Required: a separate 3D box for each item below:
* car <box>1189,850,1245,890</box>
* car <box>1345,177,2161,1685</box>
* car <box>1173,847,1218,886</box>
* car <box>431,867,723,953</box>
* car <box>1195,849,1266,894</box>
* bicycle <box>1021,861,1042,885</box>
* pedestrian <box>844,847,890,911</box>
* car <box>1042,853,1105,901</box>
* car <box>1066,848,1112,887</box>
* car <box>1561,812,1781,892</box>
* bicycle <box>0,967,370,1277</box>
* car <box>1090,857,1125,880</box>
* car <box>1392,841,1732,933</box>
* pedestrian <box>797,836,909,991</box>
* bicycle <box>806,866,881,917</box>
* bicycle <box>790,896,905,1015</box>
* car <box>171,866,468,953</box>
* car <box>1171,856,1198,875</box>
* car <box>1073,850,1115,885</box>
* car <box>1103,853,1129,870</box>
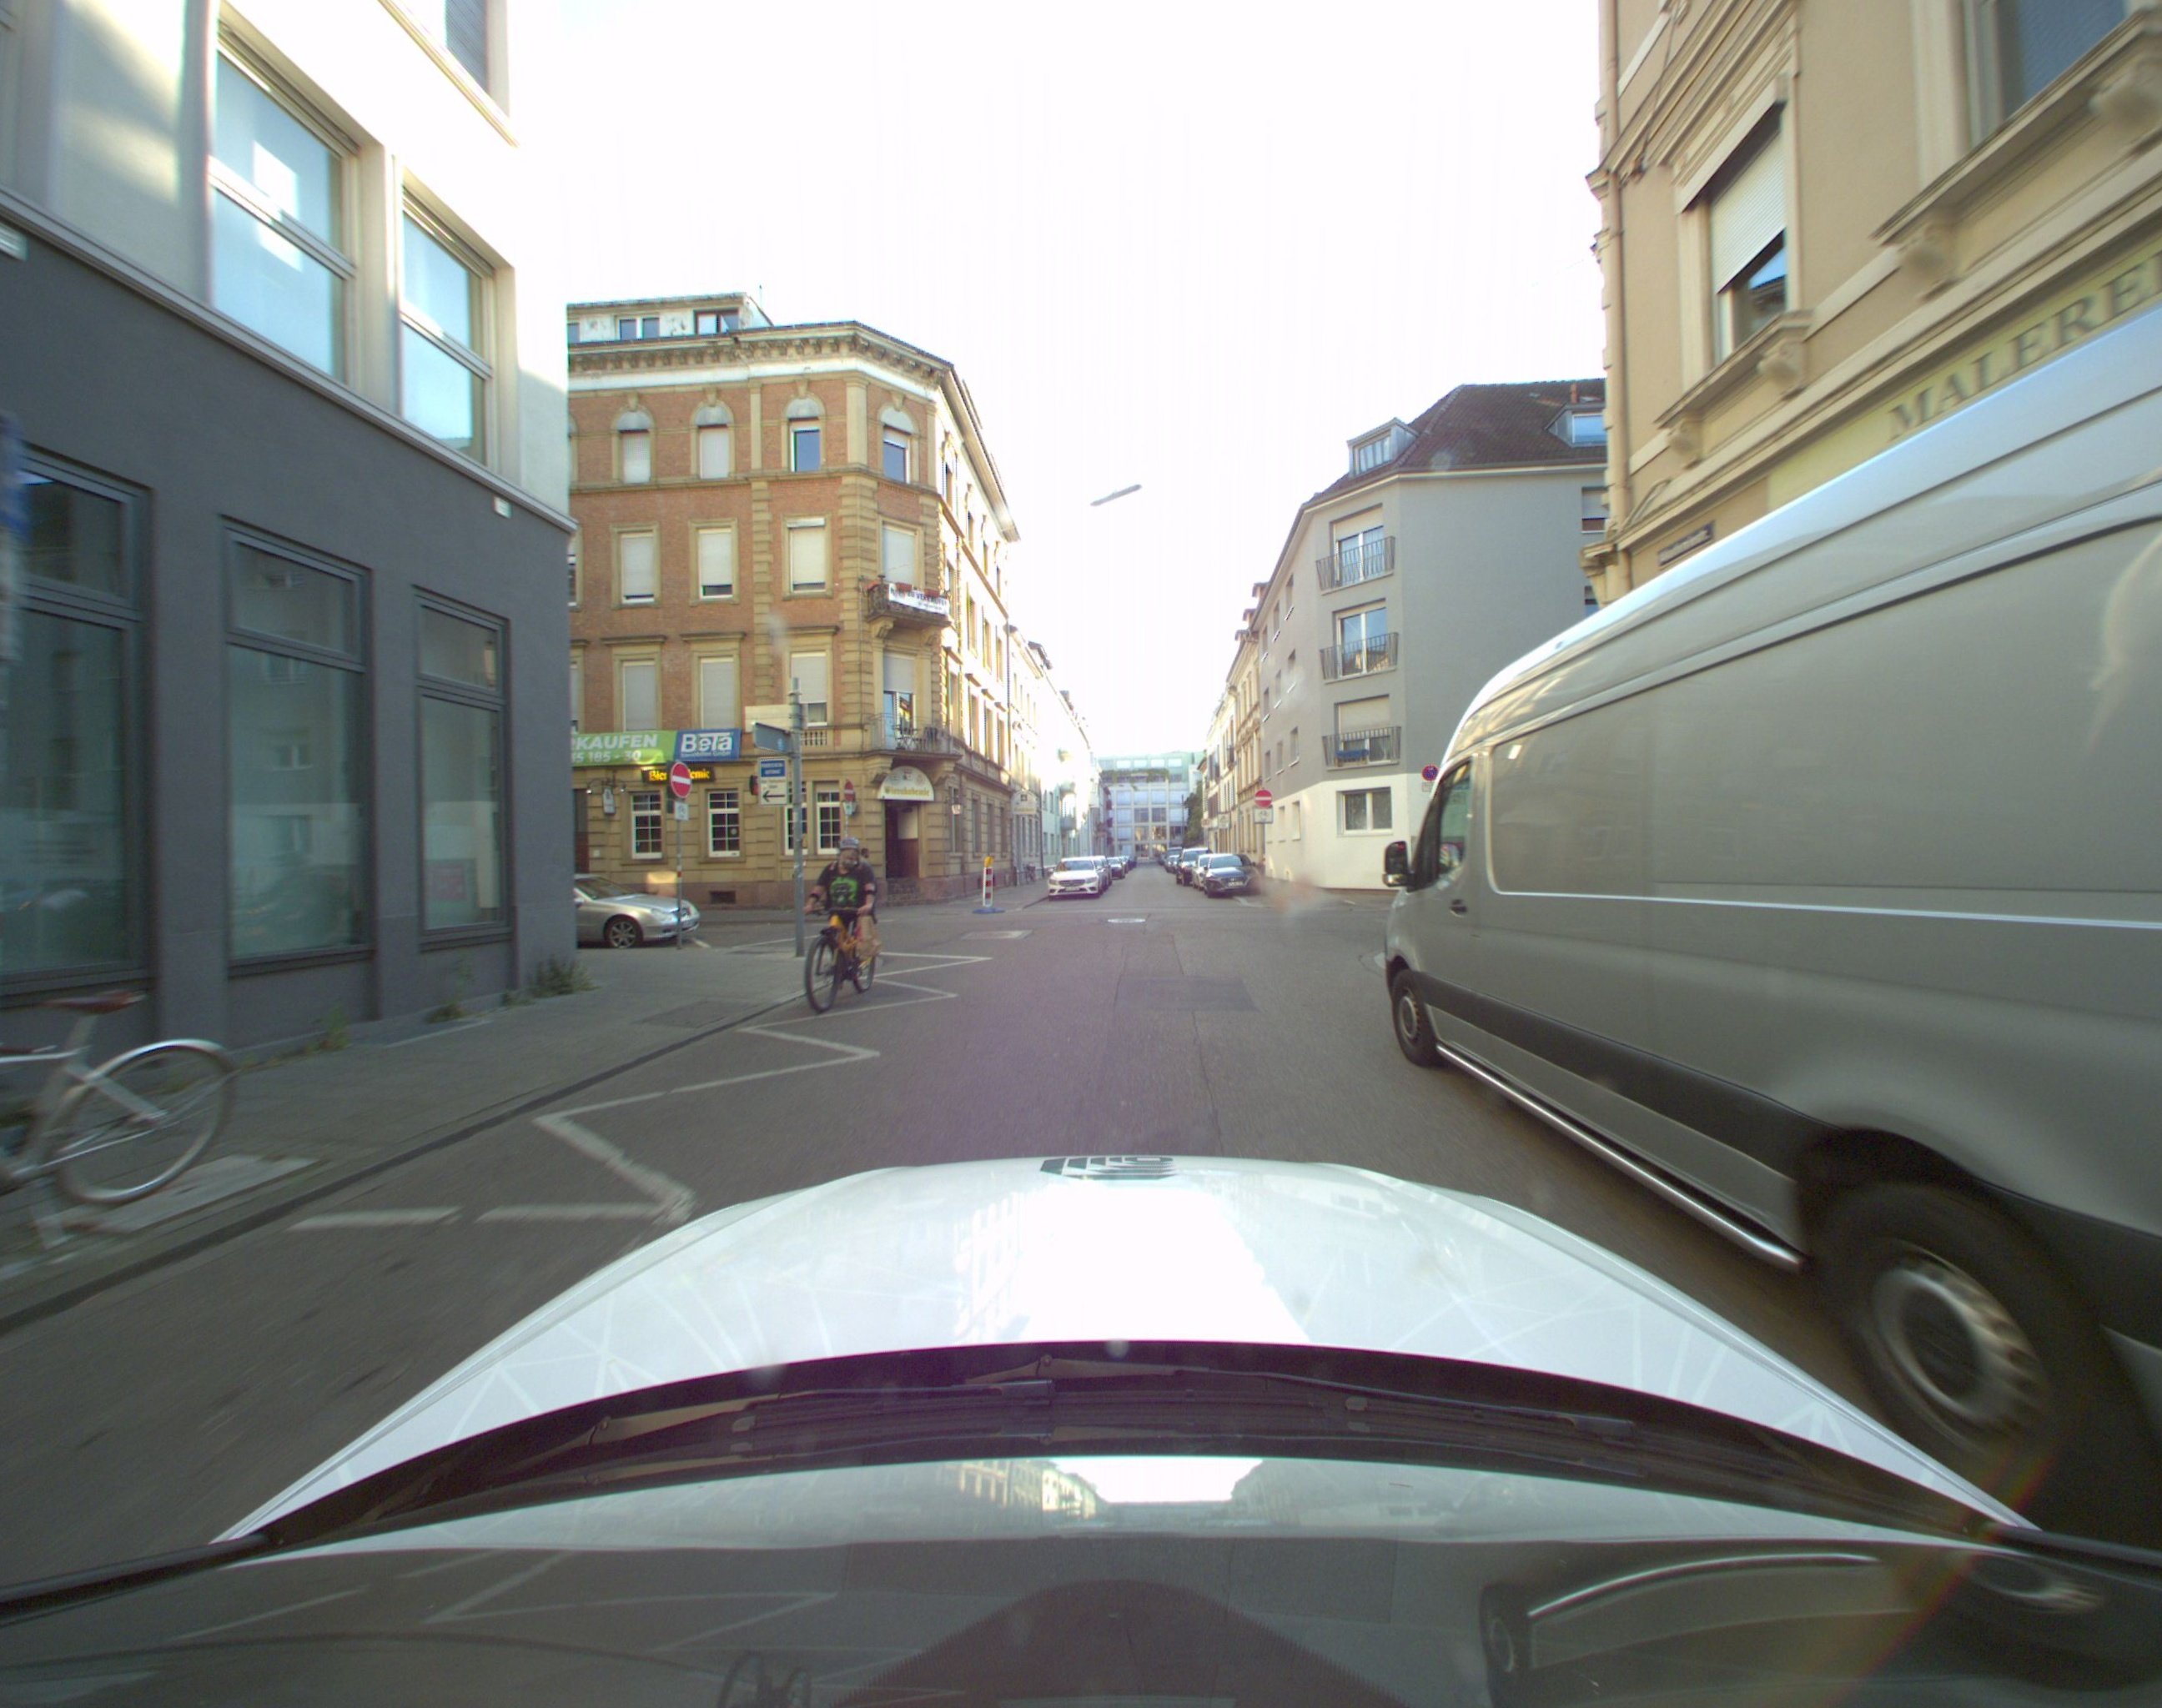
[{"bbox_3d":[5.697,0.644,34.562,1.955,1.557,3.893,-1,0,4],"label":"car"},{"bbox_3d":[3.162,0.102,4.007,2.265,2.439,6.214,-1,0,6],"label":"car"},{"bbox_3d":[5.558,0.578,40.012,1.885,1.784,4.004,-1,0,4],"label":"car"},{"bbox_3d":[-9.454,1.026,15.506,4.455,1.401,1.758,-1,1,2],"label":"car"},{"bbox_3d":[5.148,0.567,28.508,1.930,1.372,3.792,-3,0,3],"label":"car"},{"bbox_3d":[-2.521,0.961,41.582,0.734,1.160,2.464,-1,0,5],"label":"bicycle"},{"bbox_3d":[-6.019,0.692,22.972,1.010,1.742,0.984,-1,0,-1],"label":"pedestrian"},{"bbox_3d":[-0.190,0.788,29.881,1.985,1.564,4.510,-1,0,3],"label":"car"},{"bbox_3d":[0.398,0.556,35.614,1.616,1.576,3.760,-1,0,6],"label":"car"},{"bbox_3d":[14.437,-0.042,20.097,4.153,1.813,1.638,-1,0,4],"label":"car"},{"bbox_3d":[-4.087,1.051,3.443,0.593,0.905,1.646,-1,0,6],"label":"bicycle"},{"bbox_3d":[1.763,0.910,52.702,1.984,1.355,4.434,-1,0,4],"label":"car"},{"bbox_3d":[8.034,0.546,14.029,4.688,1.408,1.894,-1,0,7],"label":"car"},{"bbox_3d":[-2.414,0.598,8.758,0.825,1.545,1.083,-1,0,3],"label":"pedestrian"},{"bbox_3d":[-6.358,0.994,21.855,1.751,1.275,0.661,-1,3,1],"label":"bicycle"},{"bbox_3d":[-2.431,1.018,8.727,0.536,1.007,1.983,-1,0,3],"label":"bicycle"},{"bbox_3d":[-14.951,1.057,16.152,4.084,1.524,2.017,-1,0,5],"label":"car"},{"bbox_3d":[8.238,0.893,65.049,1.984,1.451,4.006,-1,0,6],"label":"car"},{"bbox_3d":[0.699,0.657,41.355,1.776,1.658,3.823,-1,0,6],"label":"car"},{"bbox_3d":[3.030,0.628,70.591,2.164,1.418,4.003,-1,0,2],"label":"car"}]
